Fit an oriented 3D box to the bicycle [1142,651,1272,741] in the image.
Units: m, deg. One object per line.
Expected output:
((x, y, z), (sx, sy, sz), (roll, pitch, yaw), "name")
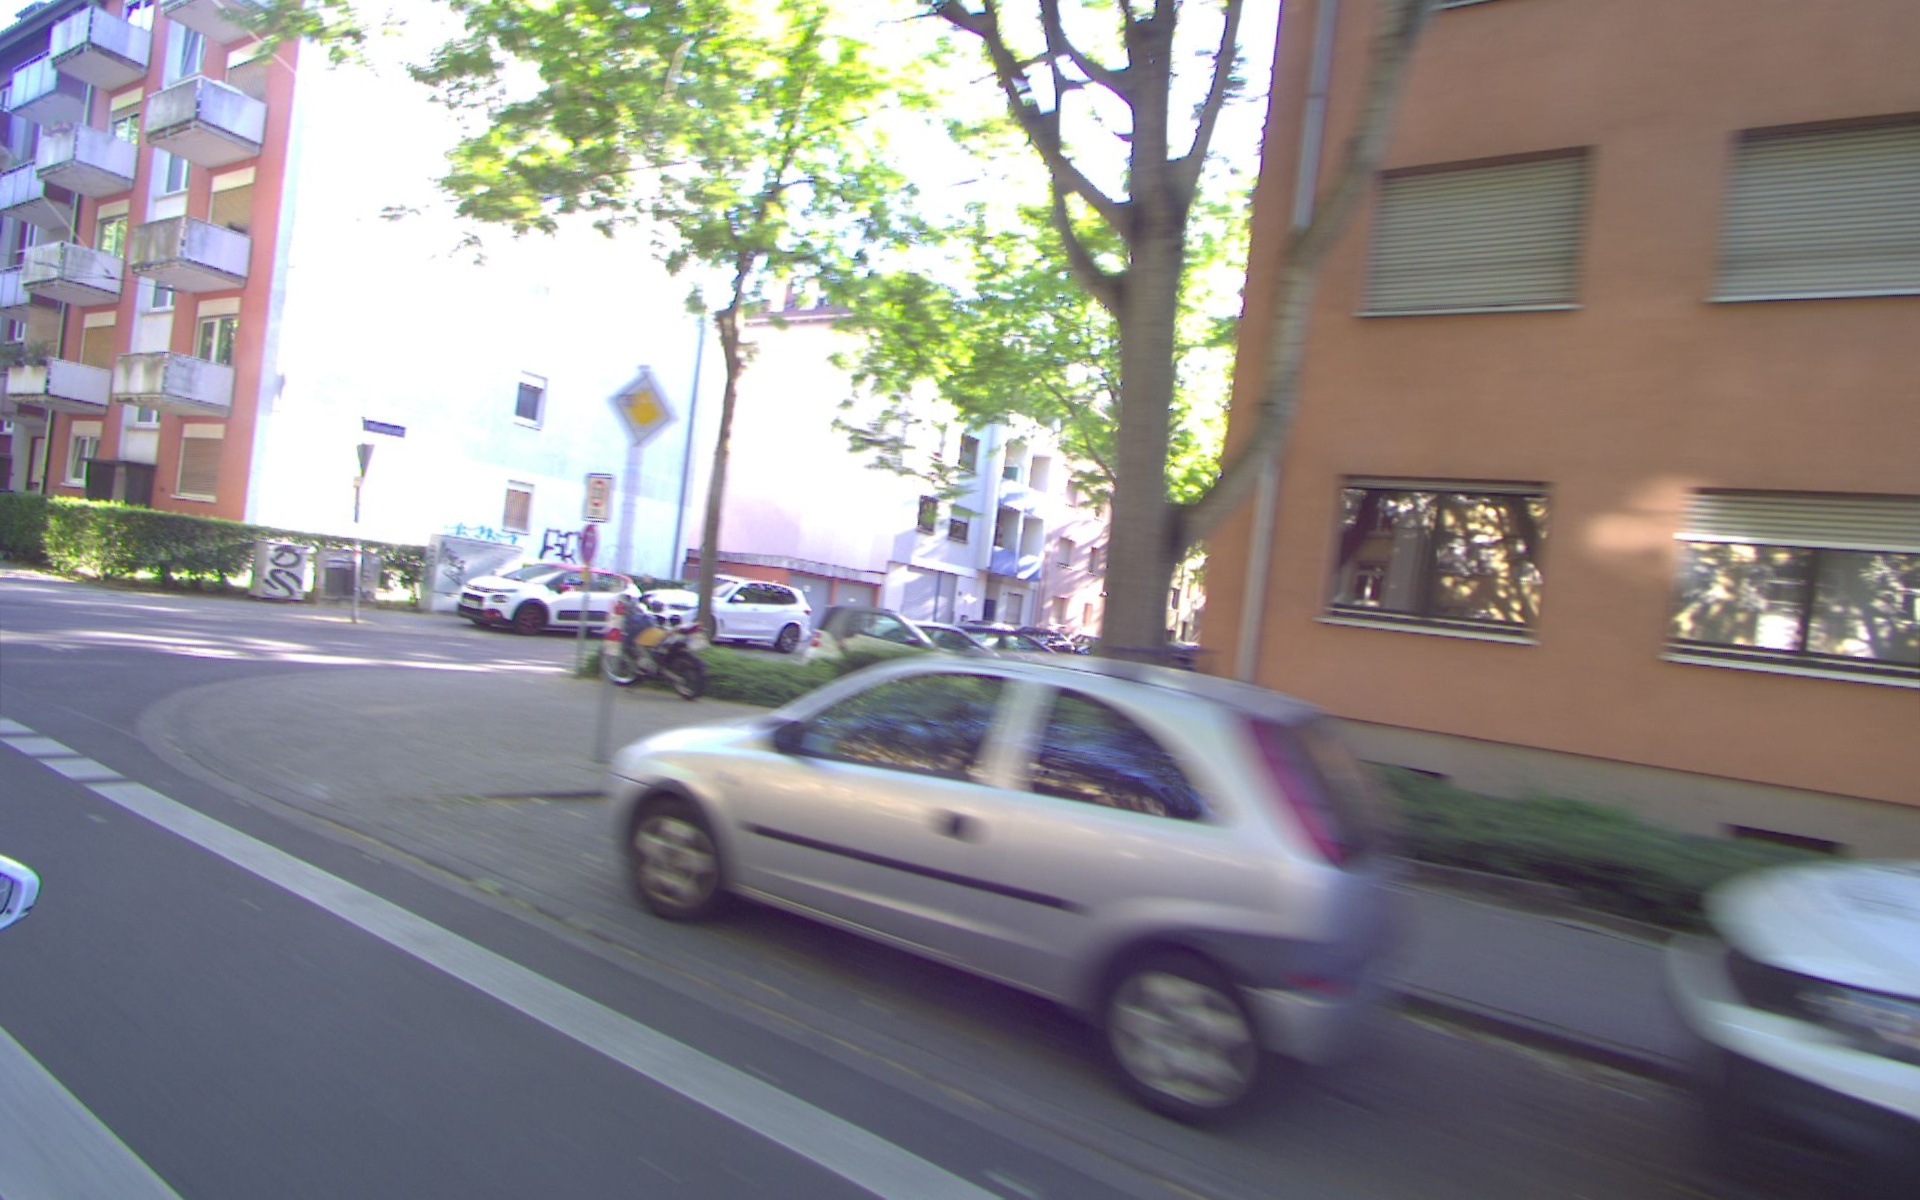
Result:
((3.766, 1.459, 15.403), (1.746, 1.112, 0.513), (6, -1, 32), "bicycle")

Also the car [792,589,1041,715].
((-0.707, 0.862, 17.296), (3.926, 1.559, 1.727), (7, 0, 0), "car")

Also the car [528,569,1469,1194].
((0.035, 0.852, 4.692), (3.933, 1.491, 1.707), (7, 0, 31), "car")

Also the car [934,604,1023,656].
((0.716, 1.115, 36.561), (1.557, 1.507, 3.384), (7, 0, 33), "car")

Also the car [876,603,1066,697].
((0.260, 1.074, 22.045), (3.872, 1.479, 1.667), (7, 0, 2), "car")

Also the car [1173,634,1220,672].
((13.871, 3.125, 58.940), (1.413, 1.896, 3.384), (7, 0, 33), "car")

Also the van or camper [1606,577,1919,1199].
((4.285, 1.191, 2.029), (4.748, 1.887, 1.757), (7, 0, 30), "van or camper")

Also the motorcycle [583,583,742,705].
((-3.883, 0.547, 13.011), (2.223, 1.314, 0.678), (6, 0, 38), "motorcycle")

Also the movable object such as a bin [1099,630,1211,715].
((3.871, 1.426, 19.742), (1.354, 1.436, 2.545), (5, -2, 28), "movable object such as a bin")

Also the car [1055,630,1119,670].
((5.800, 2.297, 45.799), (1.413, 1.507, 3.384), (7, 0, 33), "car")

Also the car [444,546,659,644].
((-8.437, -0.042, 21.107), (1.535, 1.500, 3.921), (10, 1, 30), "car")

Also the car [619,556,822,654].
((-5.866, 0.191, 25.270), (1.973, 1.815, 4.726), (10, 1, 33), "car")

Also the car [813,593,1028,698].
((-0.739, 0.861, 19.641), (3.873, 1.479, 1.727), (7, 0, 0), "car")

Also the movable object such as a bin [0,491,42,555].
((-21.884, -1.803, 22.912), (0.762, 1.342, 1.155), (7, -1, 32), "movable object such as a bin")
